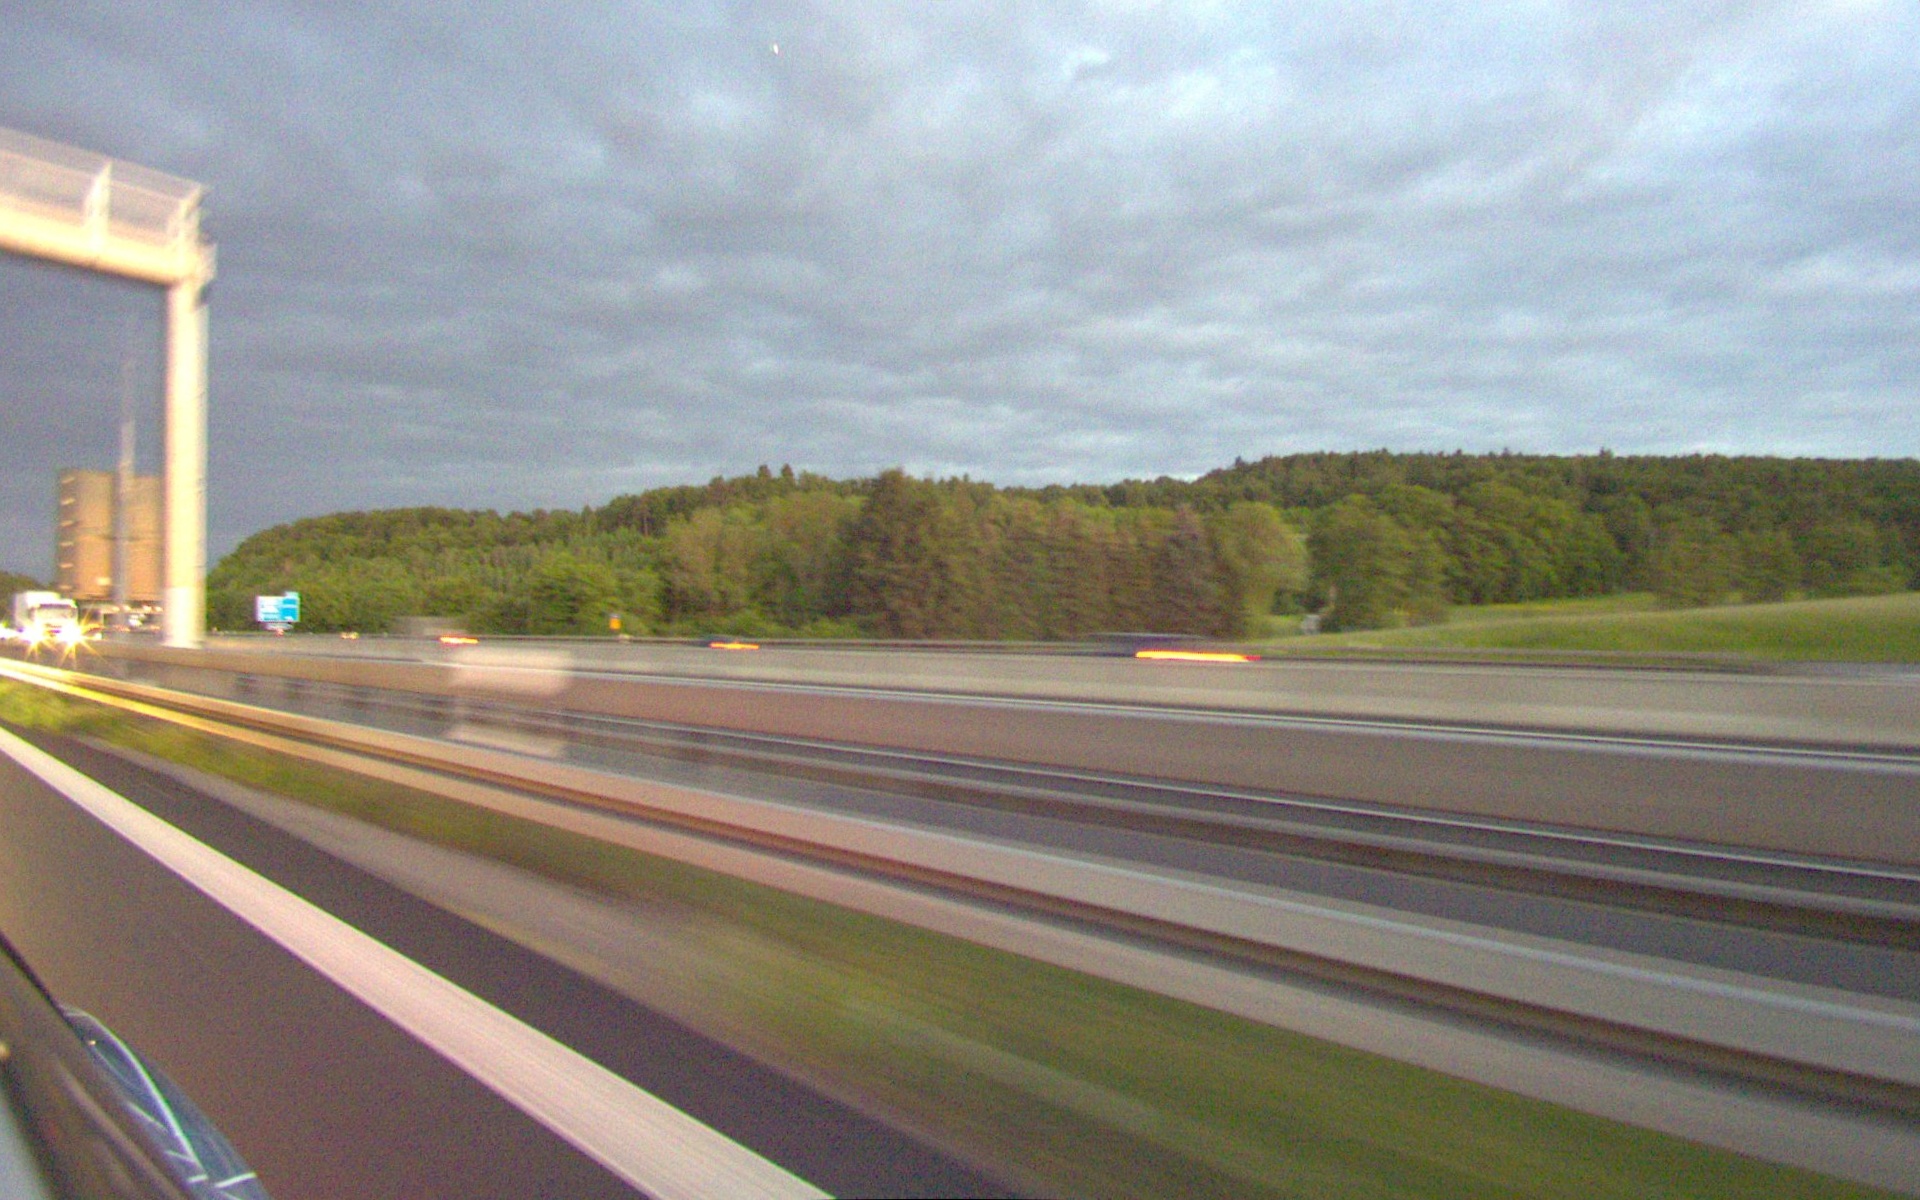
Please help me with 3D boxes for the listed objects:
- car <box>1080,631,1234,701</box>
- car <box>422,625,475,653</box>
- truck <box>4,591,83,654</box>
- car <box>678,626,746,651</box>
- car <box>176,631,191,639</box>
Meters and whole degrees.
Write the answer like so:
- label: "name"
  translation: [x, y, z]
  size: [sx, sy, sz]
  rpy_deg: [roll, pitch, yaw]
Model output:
- label: "car"
  translation: [5.272, 1.723, 27.319]
  size: [3.750, 1.719, 1.665]
  rpy_deg: [-2, -2, 41]
- label: "car"
  translation: [-38.938, 2.949, 77.034]
  size: [4.731, 2.029, 1.973]
  rpy_deg: [-1, -2, 41]
- label: "truck"
  translation: [-66.659, 1.628, 73.512]
  size: [9.886, 4.334, 3.006]
  rpy_deg: [-1, -2, 41]
- label: "car"
  translation: [-14.087, 2.167, 57.340]
  size: [3.889, 1.329, 1.750]
  rpy_deg: [-1, -2, 39]
- label: "car"
  translation: [-147.395, 6.569, 192.032]
  size: [1.814, 1.454, 4.471]
  rpy_deg: [2, -3, -43]
